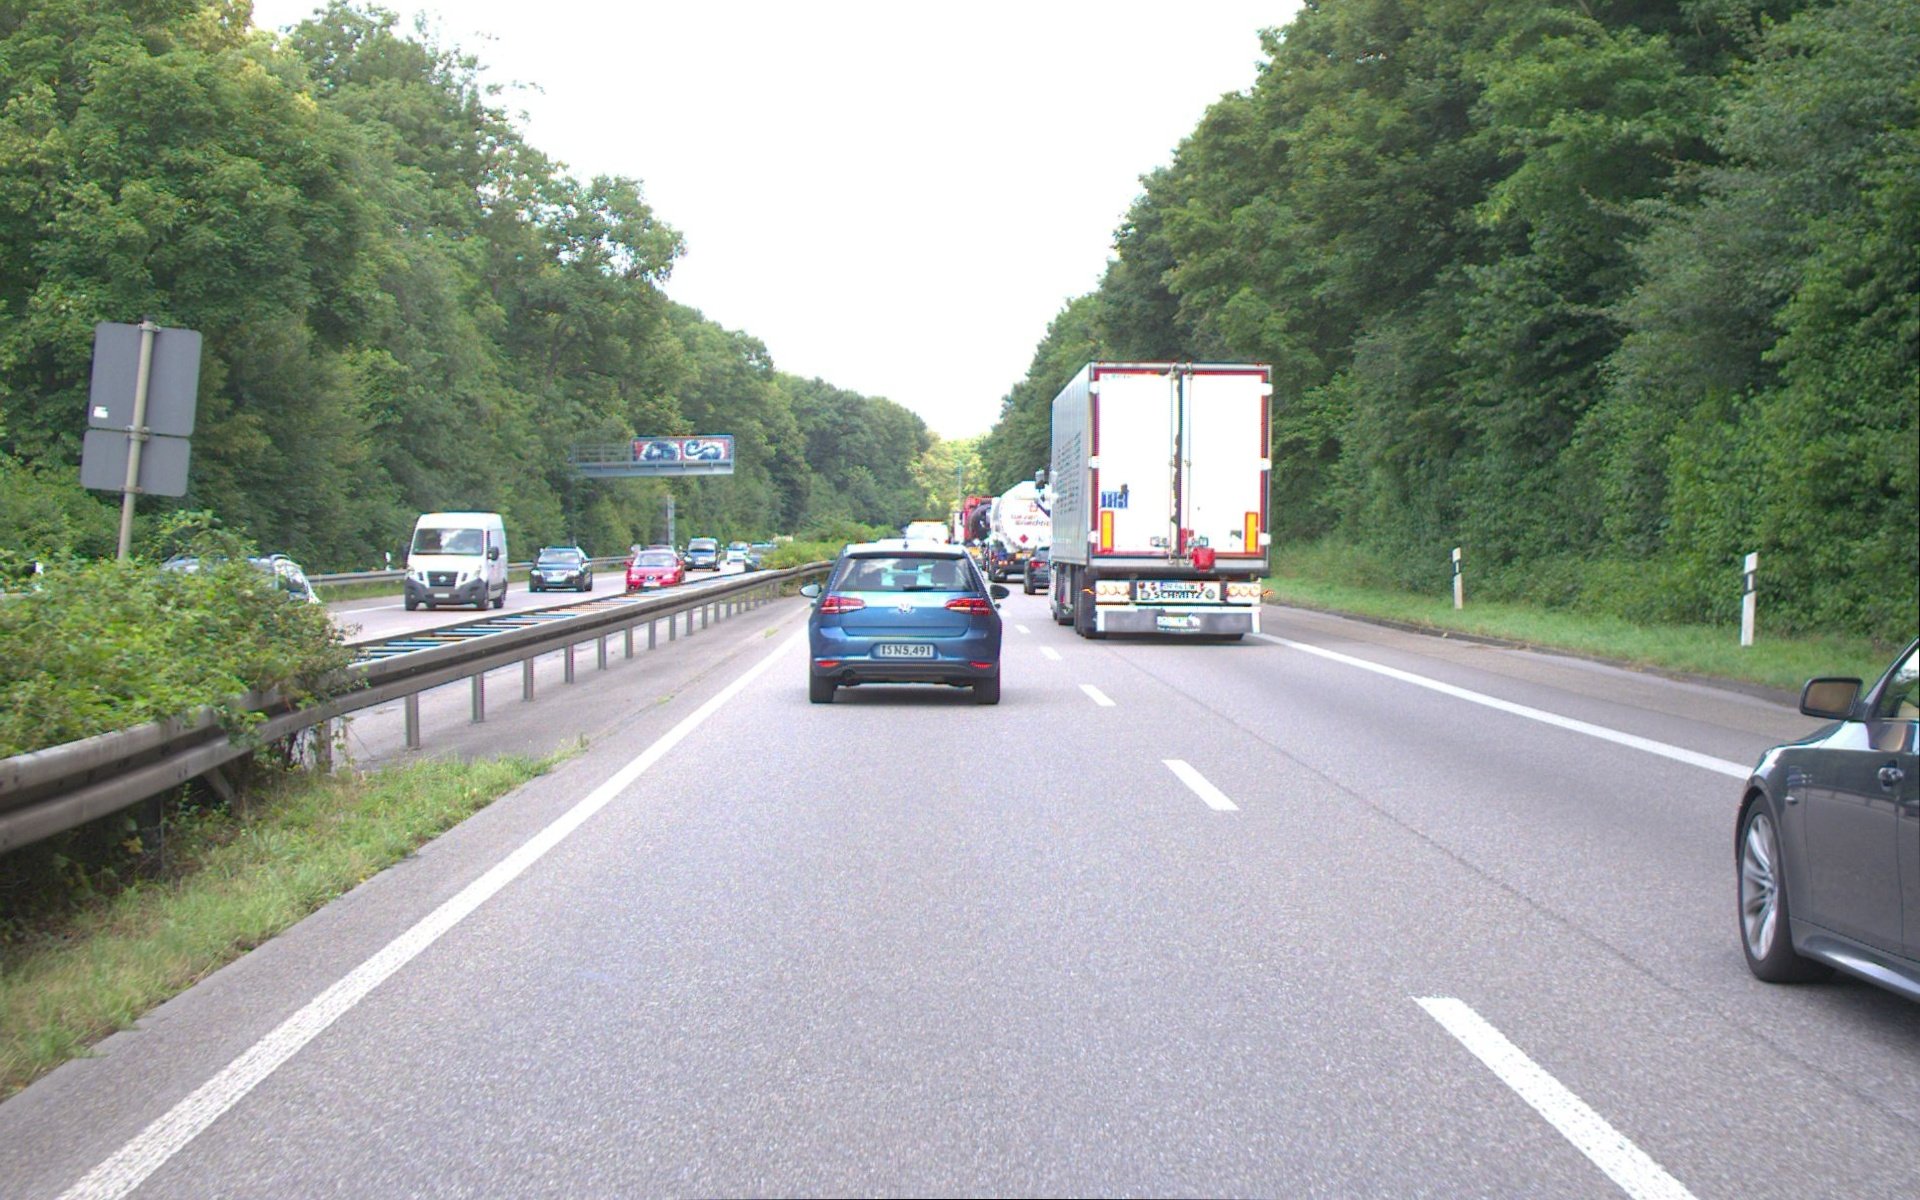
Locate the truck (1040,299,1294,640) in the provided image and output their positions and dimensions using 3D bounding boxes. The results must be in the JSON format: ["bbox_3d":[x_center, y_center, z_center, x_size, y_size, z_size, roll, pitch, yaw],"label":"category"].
[{"bbox_3d":[3.010,-1.948,53.346,3.242,4.699,11.007,-1,1,0],"label":"truck"}]

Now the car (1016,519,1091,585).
[{"bbox_3d":[2.507,-1.307,93.139,1.888,1.723,4.000,-1,1,0],"label":"car"}]

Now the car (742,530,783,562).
[{"bbox_3d":[-9.717,-2.681,169.270,1.781,1.514,4.267,-1,1,-1],"label":"car"}]

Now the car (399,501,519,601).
[{"bbox_3d":[-12.630,-1.255,87.008,2.111,2.414,5.831,1,1,0],"label":"car"}]

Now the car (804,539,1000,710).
[{"bbox_3d":[-0.541,0.179,32.080,1.705,1.465,4.000,1,1,-1],"label":"car"}]

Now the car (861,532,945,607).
[{"bbox_3d":[-1.140,-0.645,70.627,1.665,1.495,4.152,0,1,0],"label":"car"}]

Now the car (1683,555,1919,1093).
[{"bbox_3d":[3.546,0.630,9.999,1.774,1.470,4.881,1,1,-1],"label":"car"}]

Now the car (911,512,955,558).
[{"bbox_3d":[-1.377,-3.272,171.951,1.993,2.247,4.443,-1,1,-3],"label":"car"}]

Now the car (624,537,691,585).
[{"bbox_3d":[-9.334,-1.229,106.412,1.678,1.449,4.128,1,1,0],"label":"car"}]

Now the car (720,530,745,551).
[{"bbox_3d":[-15.785,-4.144,238.574,1.537,1.391,3.511,-1,1,-1],"label":"car"}]

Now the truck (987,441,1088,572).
[{"bbox_3d":[2.641,-3.195,121.180,3.232,4.371,12.971,0,1,0],"label":"truck"}]

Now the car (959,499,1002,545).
[{"bbox_3d":[1.064,-4.067,179.324,1.993,2.319,4.443,-1,1,-3],"label":"car"}]

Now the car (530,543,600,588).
[{"bbox_3d":[-13.301,-1.185,116.024,1.785,1.473,4.570,1,1,0],"label":"car"}]

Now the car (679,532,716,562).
[{"bbox_3d":[-14.371,-2.910,188.374,1.760,1.587,4.634,0,1,-1],"label":"car"}]
